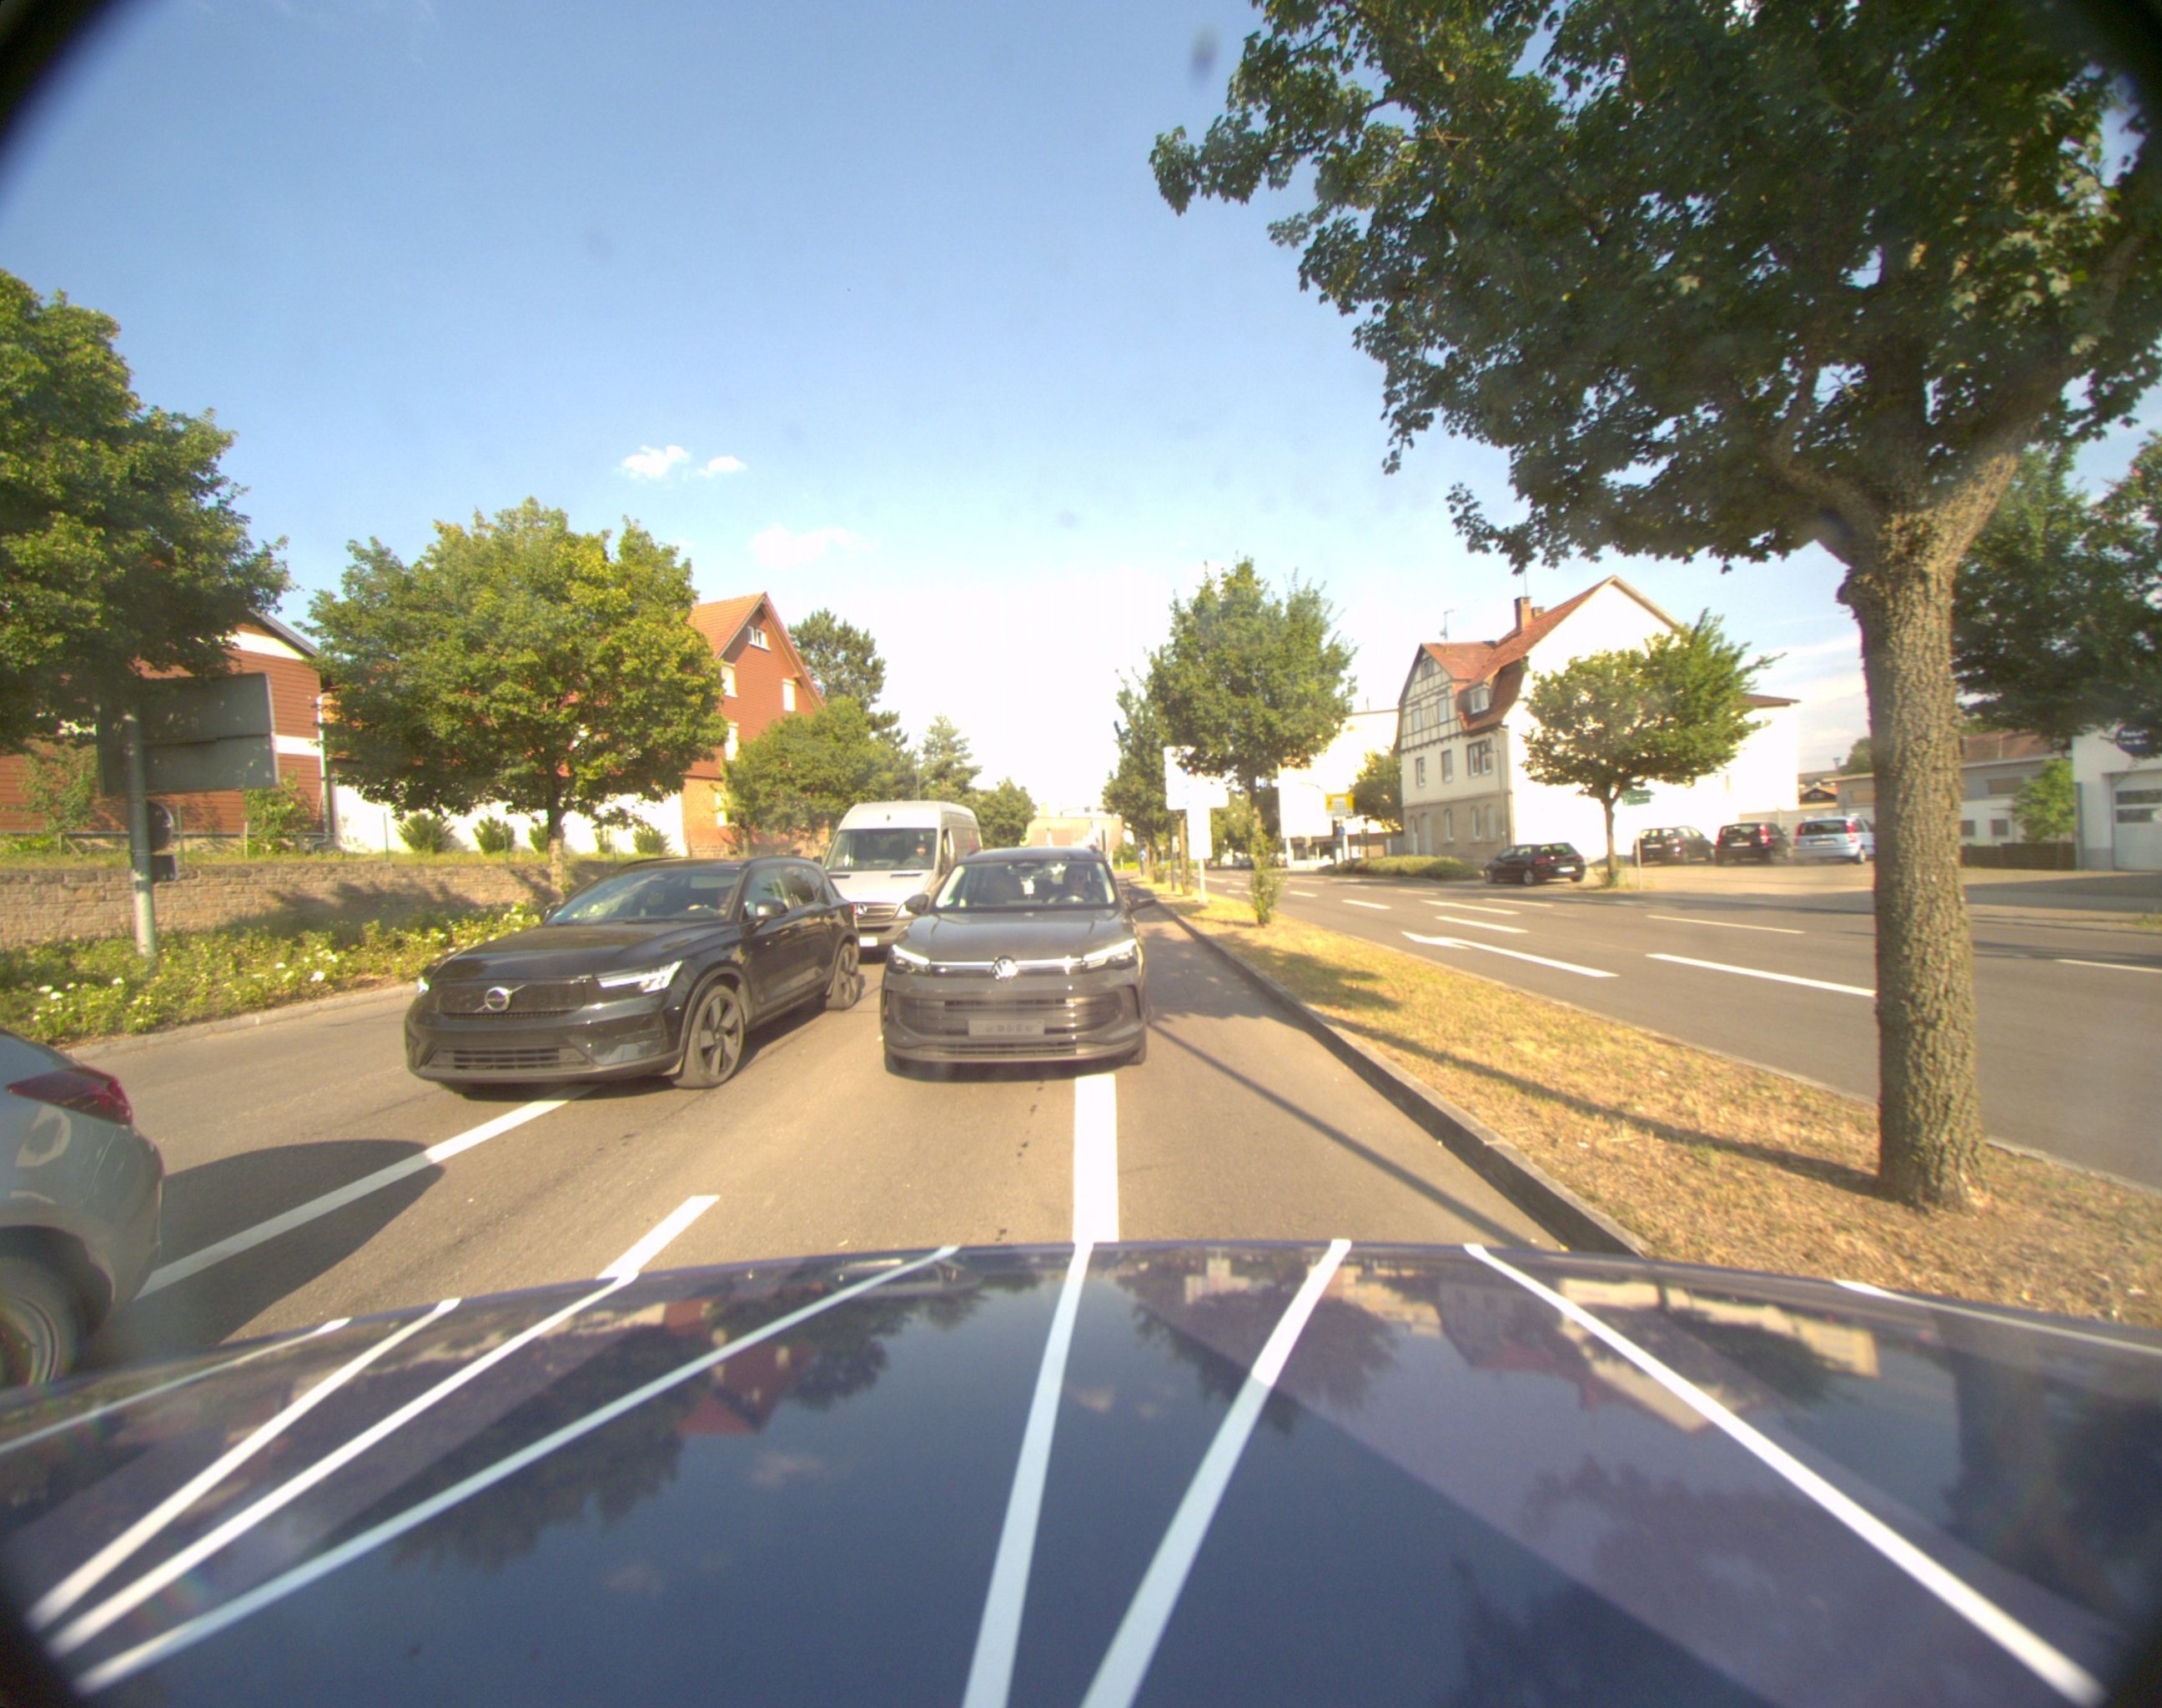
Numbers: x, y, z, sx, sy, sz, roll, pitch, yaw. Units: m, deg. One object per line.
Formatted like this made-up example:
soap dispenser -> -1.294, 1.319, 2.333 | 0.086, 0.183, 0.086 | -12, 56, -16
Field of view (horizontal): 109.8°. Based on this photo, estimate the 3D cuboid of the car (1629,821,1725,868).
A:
car -> 23.373, -0.390, 29.758 | 3.830, 1.493, 1.816 | -5, 0, -35

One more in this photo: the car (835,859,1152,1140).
car -> -0.456, 0.874, 6.623 | 1.845, 1.600, 4.318 | -1, 0, 2

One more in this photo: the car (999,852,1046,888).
car -> -2.810, 0.730, 37.273 | 1.845, 1.600, 4.318 | -1, 0, 2

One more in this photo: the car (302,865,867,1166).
car -> -3.404, 0.948, 6.434 | 1.845, 1.600, 4.318 | -1, 0, 2

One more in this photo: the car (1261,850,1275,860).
car -> 33.438, 0.131, 135.847 | 1.779, 1.683, 4.006 | -2, 0, 21

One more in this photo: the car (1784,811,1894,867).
car -> 24.874, -0.502, 24.896 | 3.830, 1.493, 1.816 | -5, 0, -35

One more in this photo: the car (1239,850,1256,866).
car -> 19.565, 0.478, 89.282 | 1.780, 1.683, 4.004 | -2, 0, 13

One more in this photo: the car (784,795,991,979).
car -> -3.076, 0.454, 13.707 | 1.992, 2.554, 6.046 | -1, 0, 2

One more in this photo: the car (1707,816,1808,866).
car -> 24.652, -0.488, 27.662 | 3.830, 1.493, 1.816 | -5, 0, -35

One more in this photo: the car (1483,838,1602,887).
car -> 16.028, 0.282, 26.624 | 1.818, 1.442, 3.825 | -5, 0, 1

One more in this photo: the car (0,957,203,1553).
car -> -3.618, 1.062, 0.186 | 1.766, 1.445, 4.318 | -1, 0, 0

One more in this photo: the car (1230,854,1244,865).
car -> 23.566, 0.855, 114.743 | 1.779, 1.460, 4.379 | -2, 0, 15
